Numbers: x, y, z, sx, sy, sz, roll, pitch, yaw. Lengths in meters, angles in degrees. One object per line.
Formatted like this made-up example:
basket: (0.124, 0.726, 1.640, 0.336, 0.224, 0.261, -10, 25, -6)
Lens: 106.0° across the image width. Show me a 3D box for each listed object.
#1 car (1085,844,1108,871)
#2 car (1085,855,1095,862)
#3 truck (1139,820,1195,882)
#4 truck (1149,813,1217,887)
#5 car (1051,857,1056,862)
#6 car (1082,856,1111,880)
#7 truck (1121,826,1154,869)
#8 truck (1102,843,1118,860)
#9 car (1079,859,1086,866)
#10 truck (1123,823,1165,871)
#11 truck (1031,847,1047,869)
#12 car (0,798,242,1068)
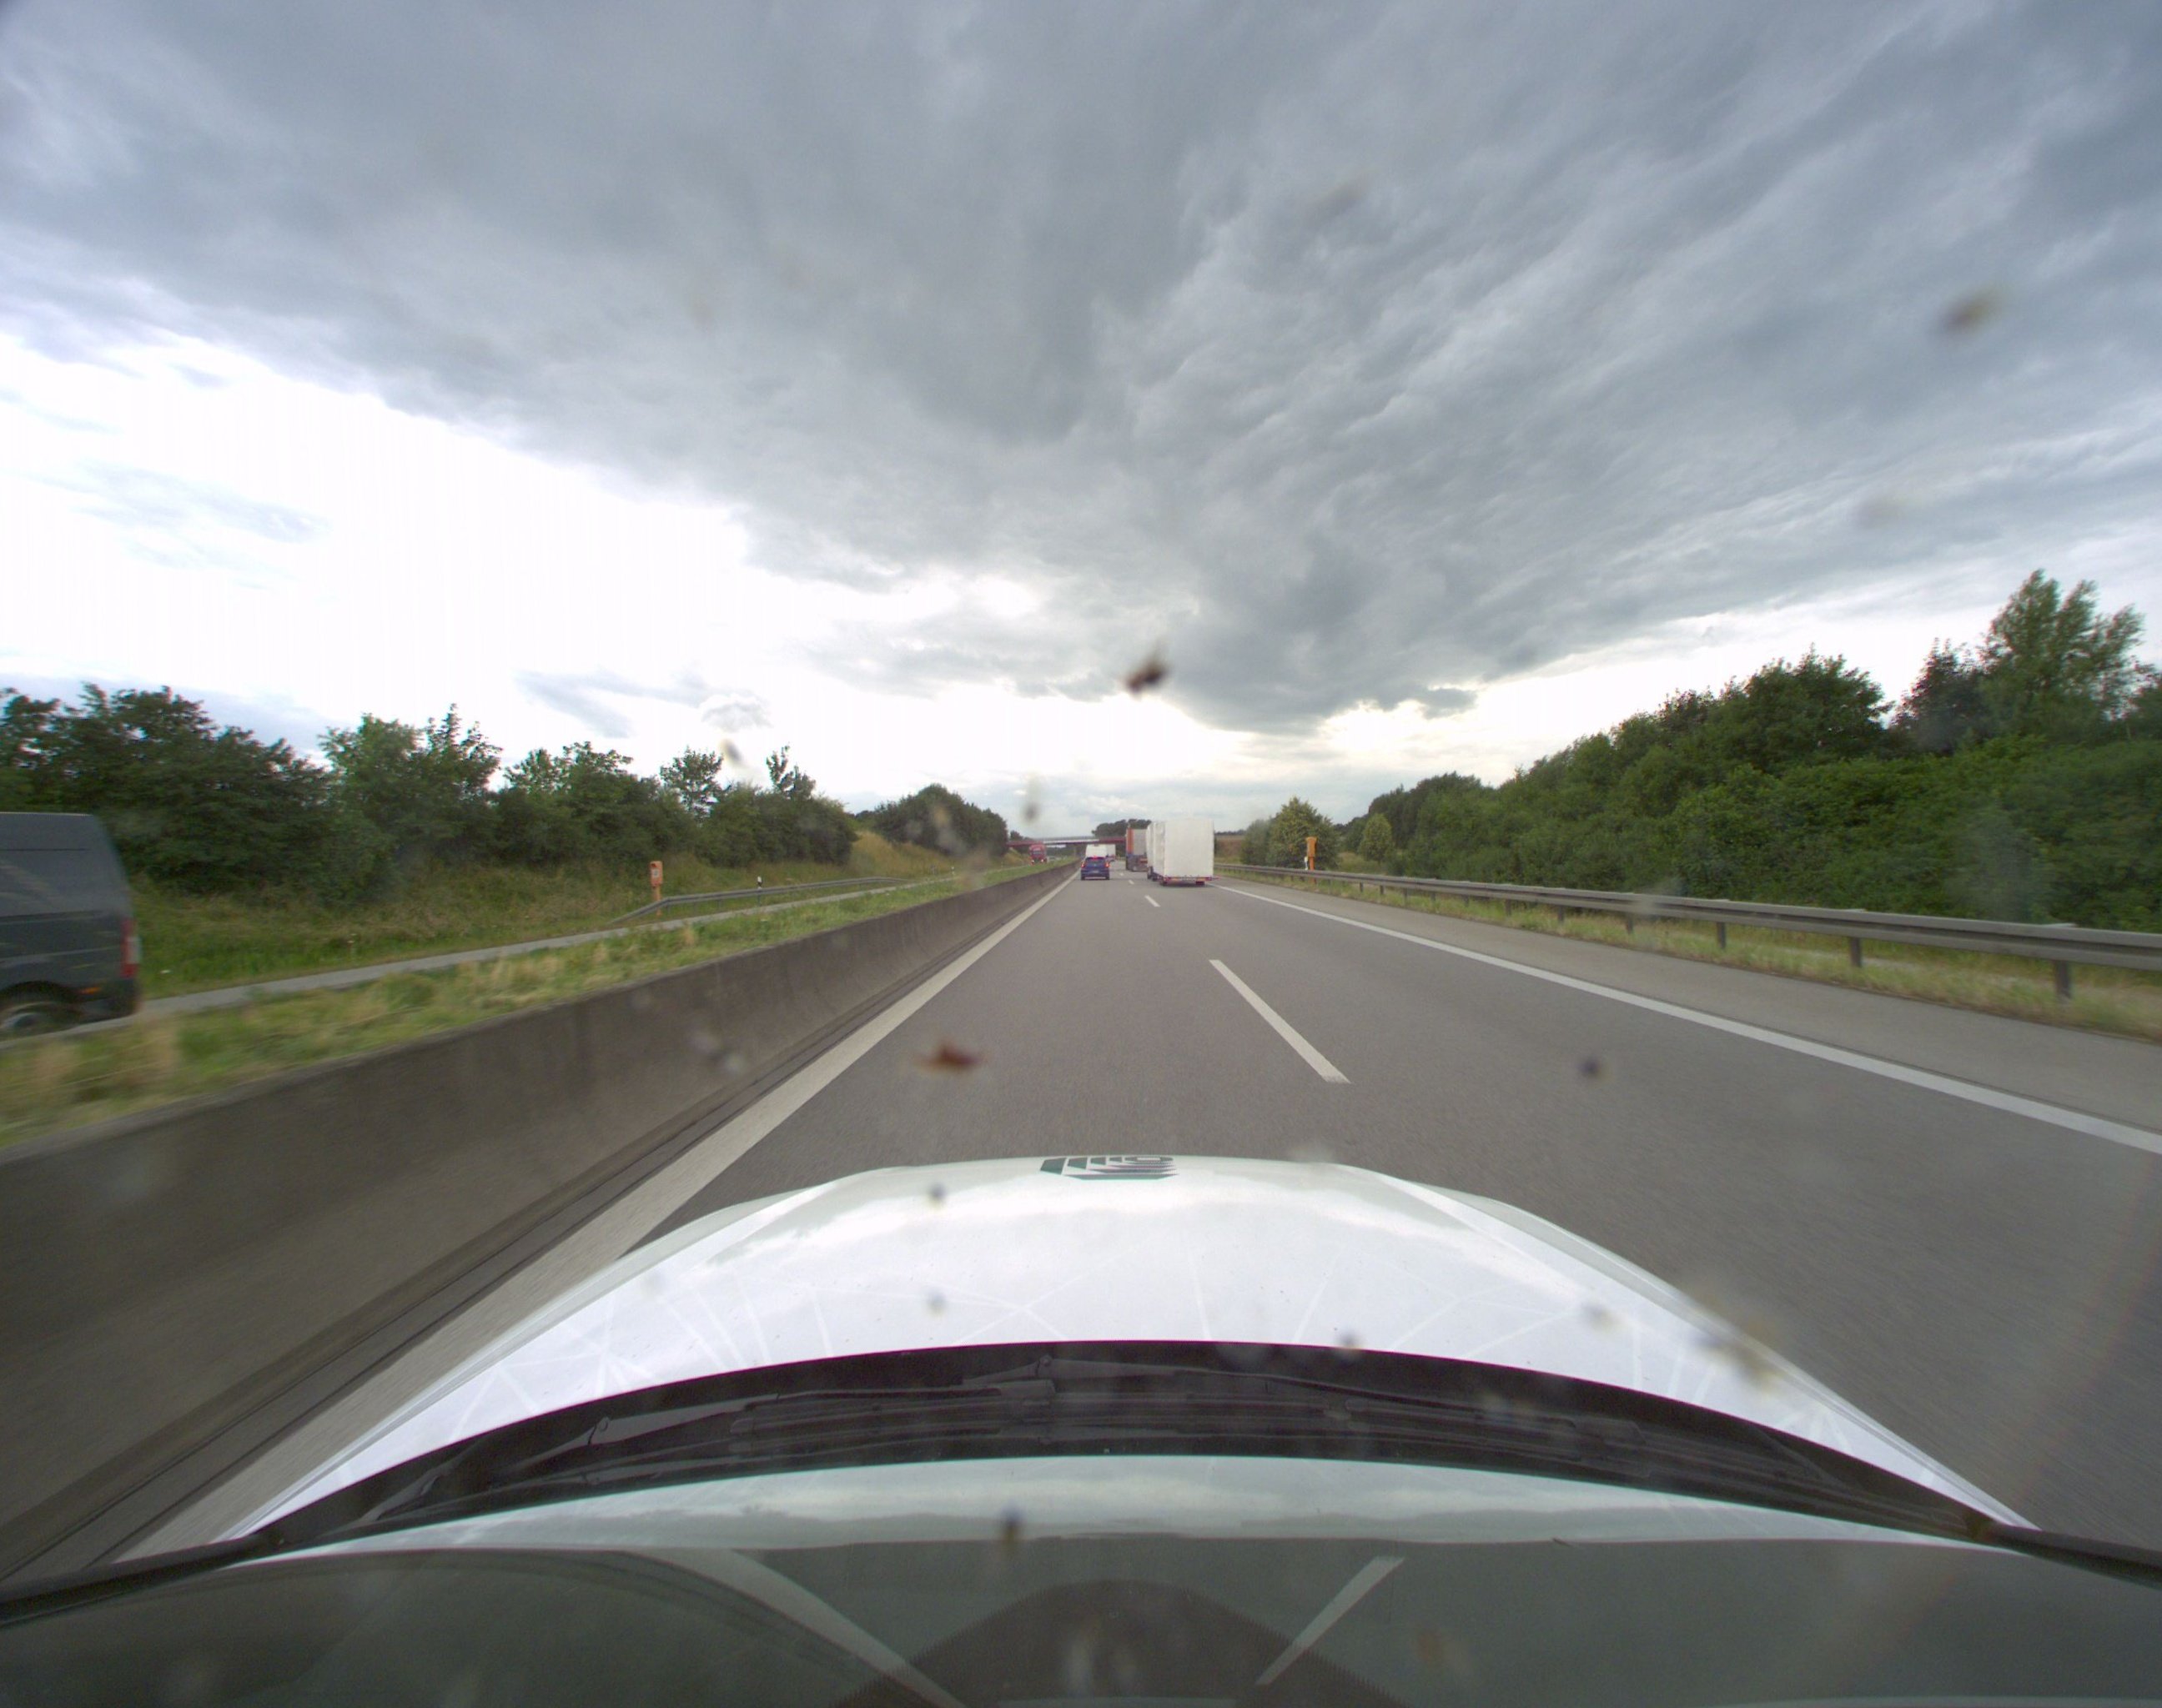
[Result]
car: (1.439, 0.312, 78.482, 2.123, 2.482, 5.838, -1, 0, 0)
car: (2.076, 1.039, 186.399, 1.929, 1.643, 4.900, -1, 0, -1)
truck: (4.827, -0.143, 46.637, 2.422, 3.243, 7.246, -1, 0, 0)
truck: (4.793, -0.162, 39.441, 2.407, 3.222, 7.143, -1, 0, 0)
car: (-8.418, 1.548, 249.214, 1.641, 1.409, 3.886, -4, 0, -1)
car: (0.938, 0.832, 49.548, 1.658, 1.407, 3.649, -1, 0, 1)
truck: (5.491, -0.637, 79.952, 2.665, 4.045, 5.509, -2, 0, -1)
truck: (6.737, -0.497, 187.836, 3.101, 3.689, 9.319, -3, 0, -1)
car: (0.439, 2.245, 220.740, 1.987, 1.684, 3.999, -1, 0, 0)
truck: (5.597, -0.617, 74.455, 2.665, 4.045, 11.102, -2, 0, -1)
truck: (-8.400, 0.781, 164.780, 2.697, 4.088, 5.164, -3, 0, 0)
car: (-11.020, 0.776, 6.144, 2.162, 2.465, 6.725, -3, 0, 2)
